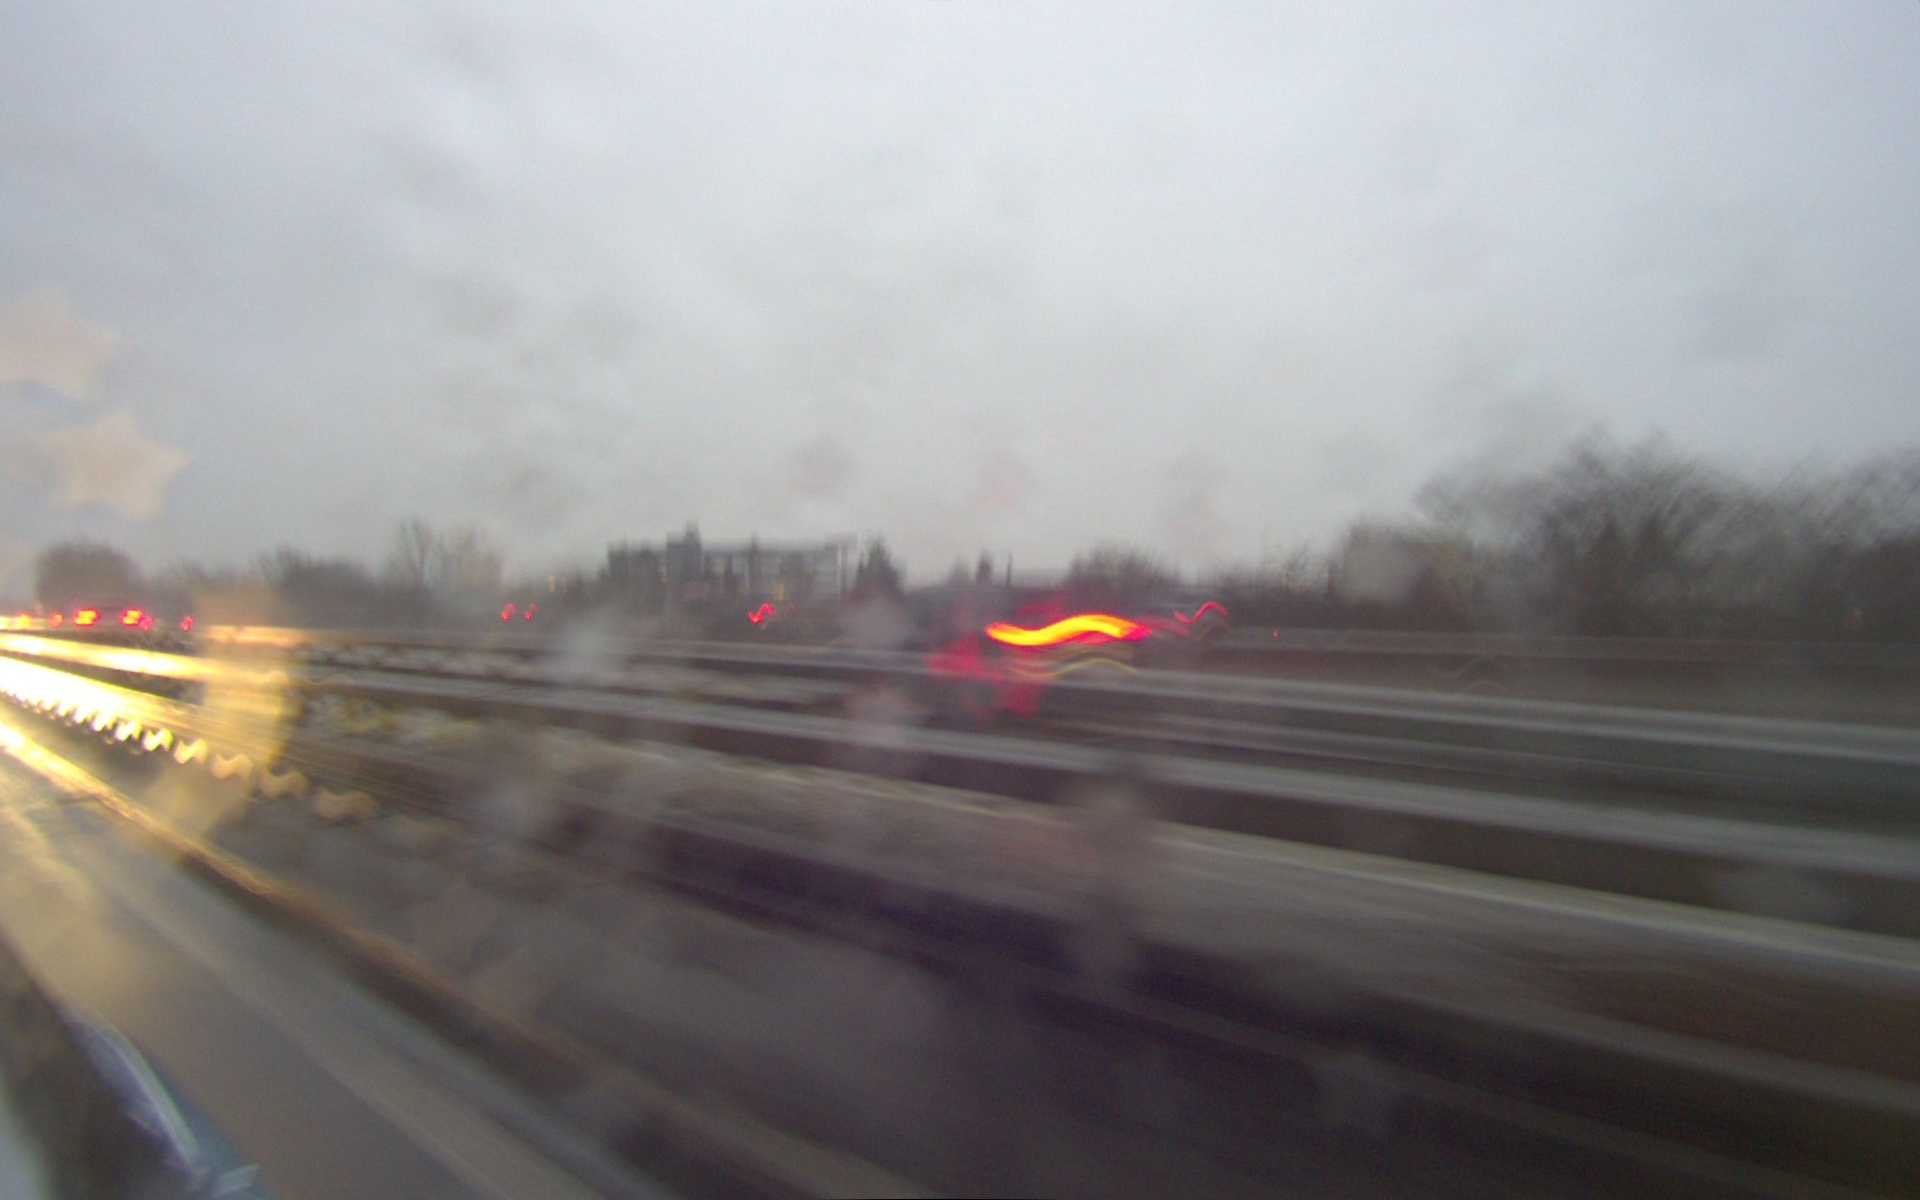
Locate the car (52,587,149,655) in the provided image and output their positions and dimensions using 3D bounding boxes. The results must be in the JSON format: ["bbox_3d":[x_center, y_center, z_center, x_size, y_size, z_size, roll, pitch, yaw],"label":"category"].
[{"bbox_3d":[-30.596,0.715,35.952,5.052,2.232,1.972,-1,0,42],"label":"car"}]

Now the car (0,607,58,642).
[{"bbox_3d":[-49.051,1.243,53.221,3.999,1.741,1.972,-1,0,42],"label":"car"}]

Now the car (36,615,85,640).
[{"bbox_3d":[-57.724,1.751,64.909,4.198,1.535,1.947,-1,-1,43],"label":"car"}]

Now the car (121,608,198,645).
[{"bbox_3d":[-36.547,1.193,46.167,4.654,1.608,1.973,-1,0,41],"label":"car"}]

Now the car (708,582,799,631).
[{"bbox_3d":[-9.249,0.327,45.163,3.998,2.029,1.973,-2,-2,41],"label":"car"}]

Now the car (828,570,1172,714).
[{"bbox_3d":[0.400,0.546,13.774,4.542,1.649,1.816,-2,-2,41],"label":"car"}]

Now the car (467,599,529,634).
[{"bbox_3d":[-27.927,0.967,61.101,3.998,2.029,1.973,-1,0,41],"label":"car"}]

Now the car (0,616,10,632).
[{"bbox_3d":[-97.247,2.393,101.961,3.920,1.578,1.836,-2,-2,41],"label":"car"}]
